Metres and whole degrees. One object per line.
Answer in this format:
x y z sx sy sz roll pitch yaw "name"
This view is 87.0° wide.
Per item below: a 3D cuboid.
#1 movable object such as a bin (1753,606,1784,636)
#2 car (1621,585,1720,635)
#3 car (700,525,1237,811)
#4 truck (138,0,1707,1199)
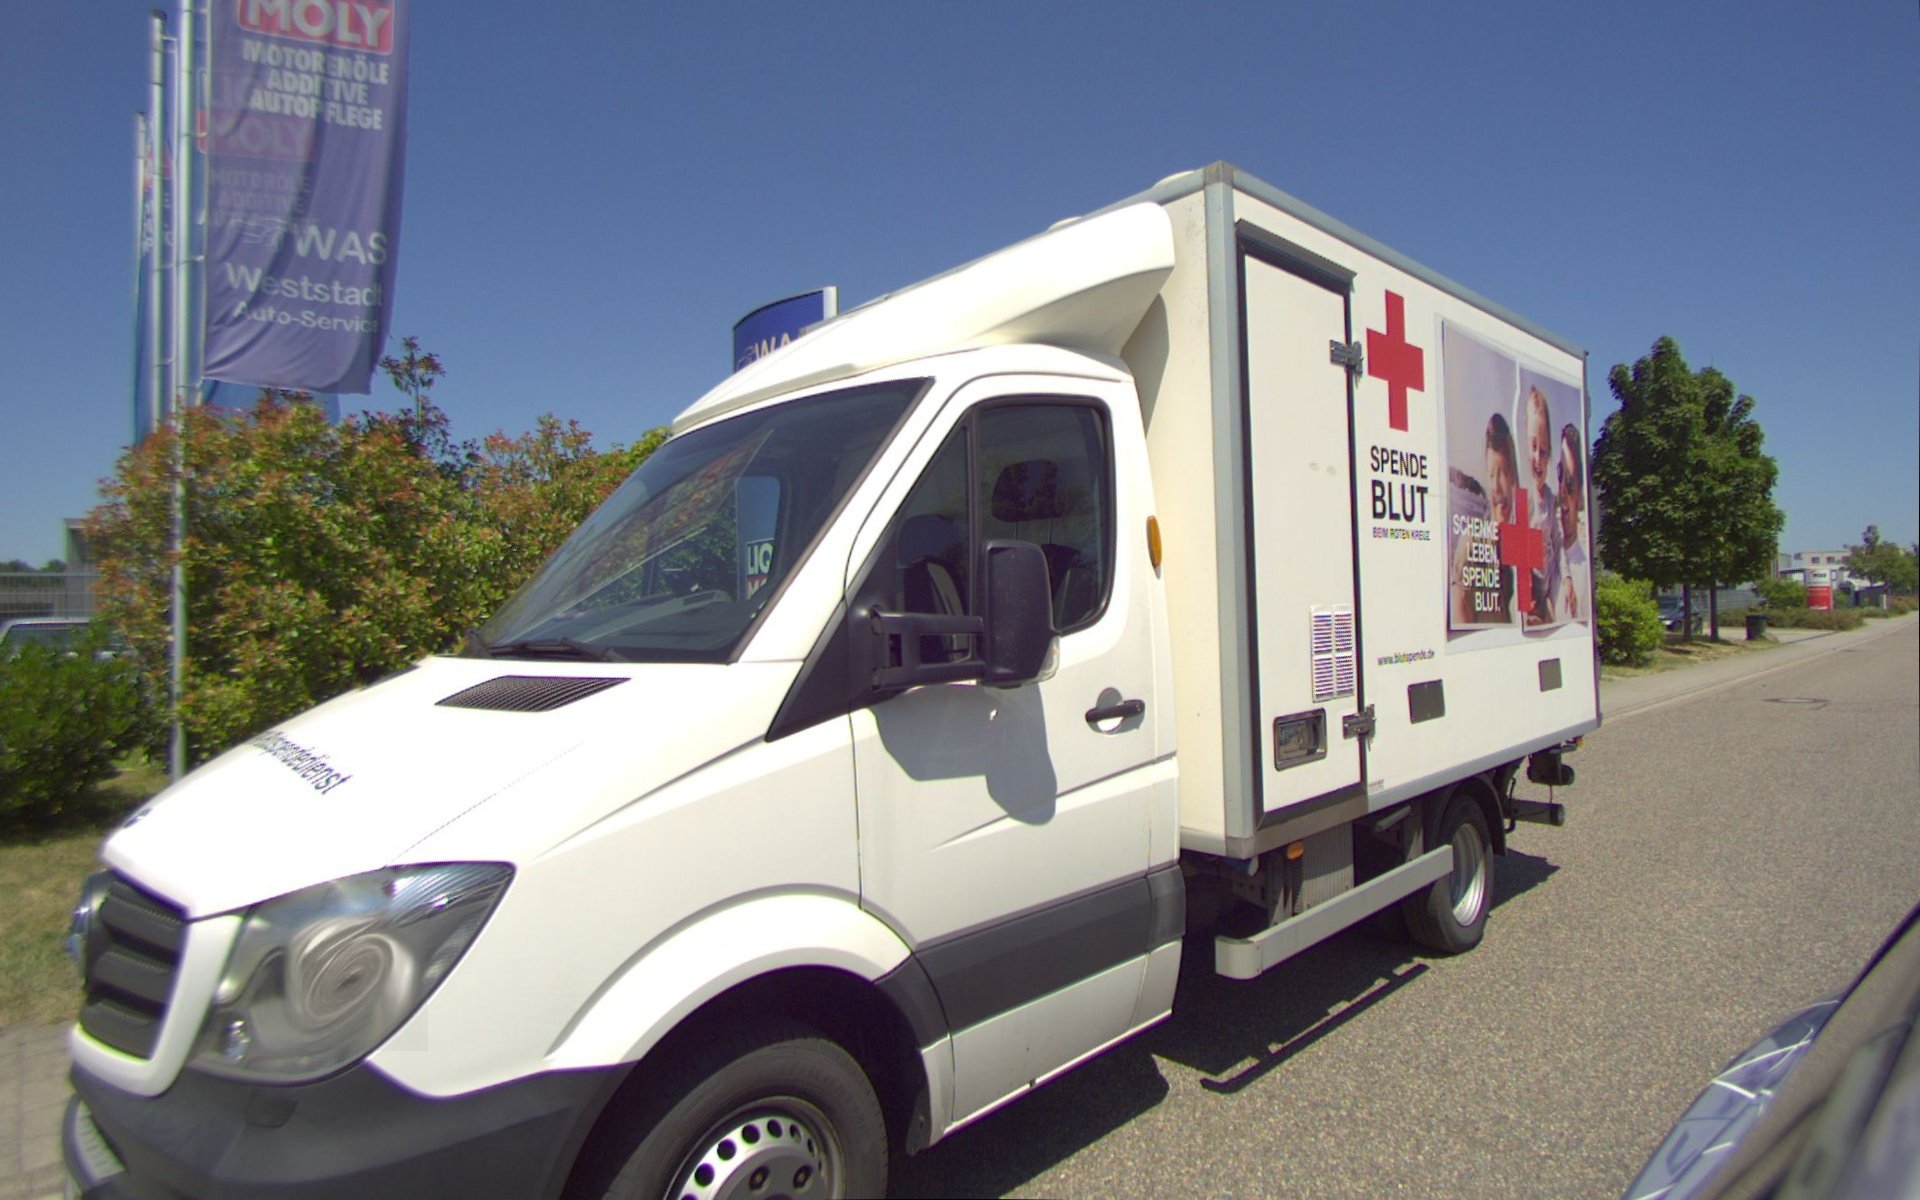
28.837 0.751 36.084 0.793 1.059 0.618 -1 -1 -31 "movable object such as a bin"
28.174 0.334 40.079 4.829 1.833 2.155 -1 0 -41 "car"
0.358 0.476 9.753 5.247 2.039 1.995 -1 -1 -43 "car"
0.868 -0.085 4.371 6.765 3.246 2.460 -1 -1 -42 "truck"
